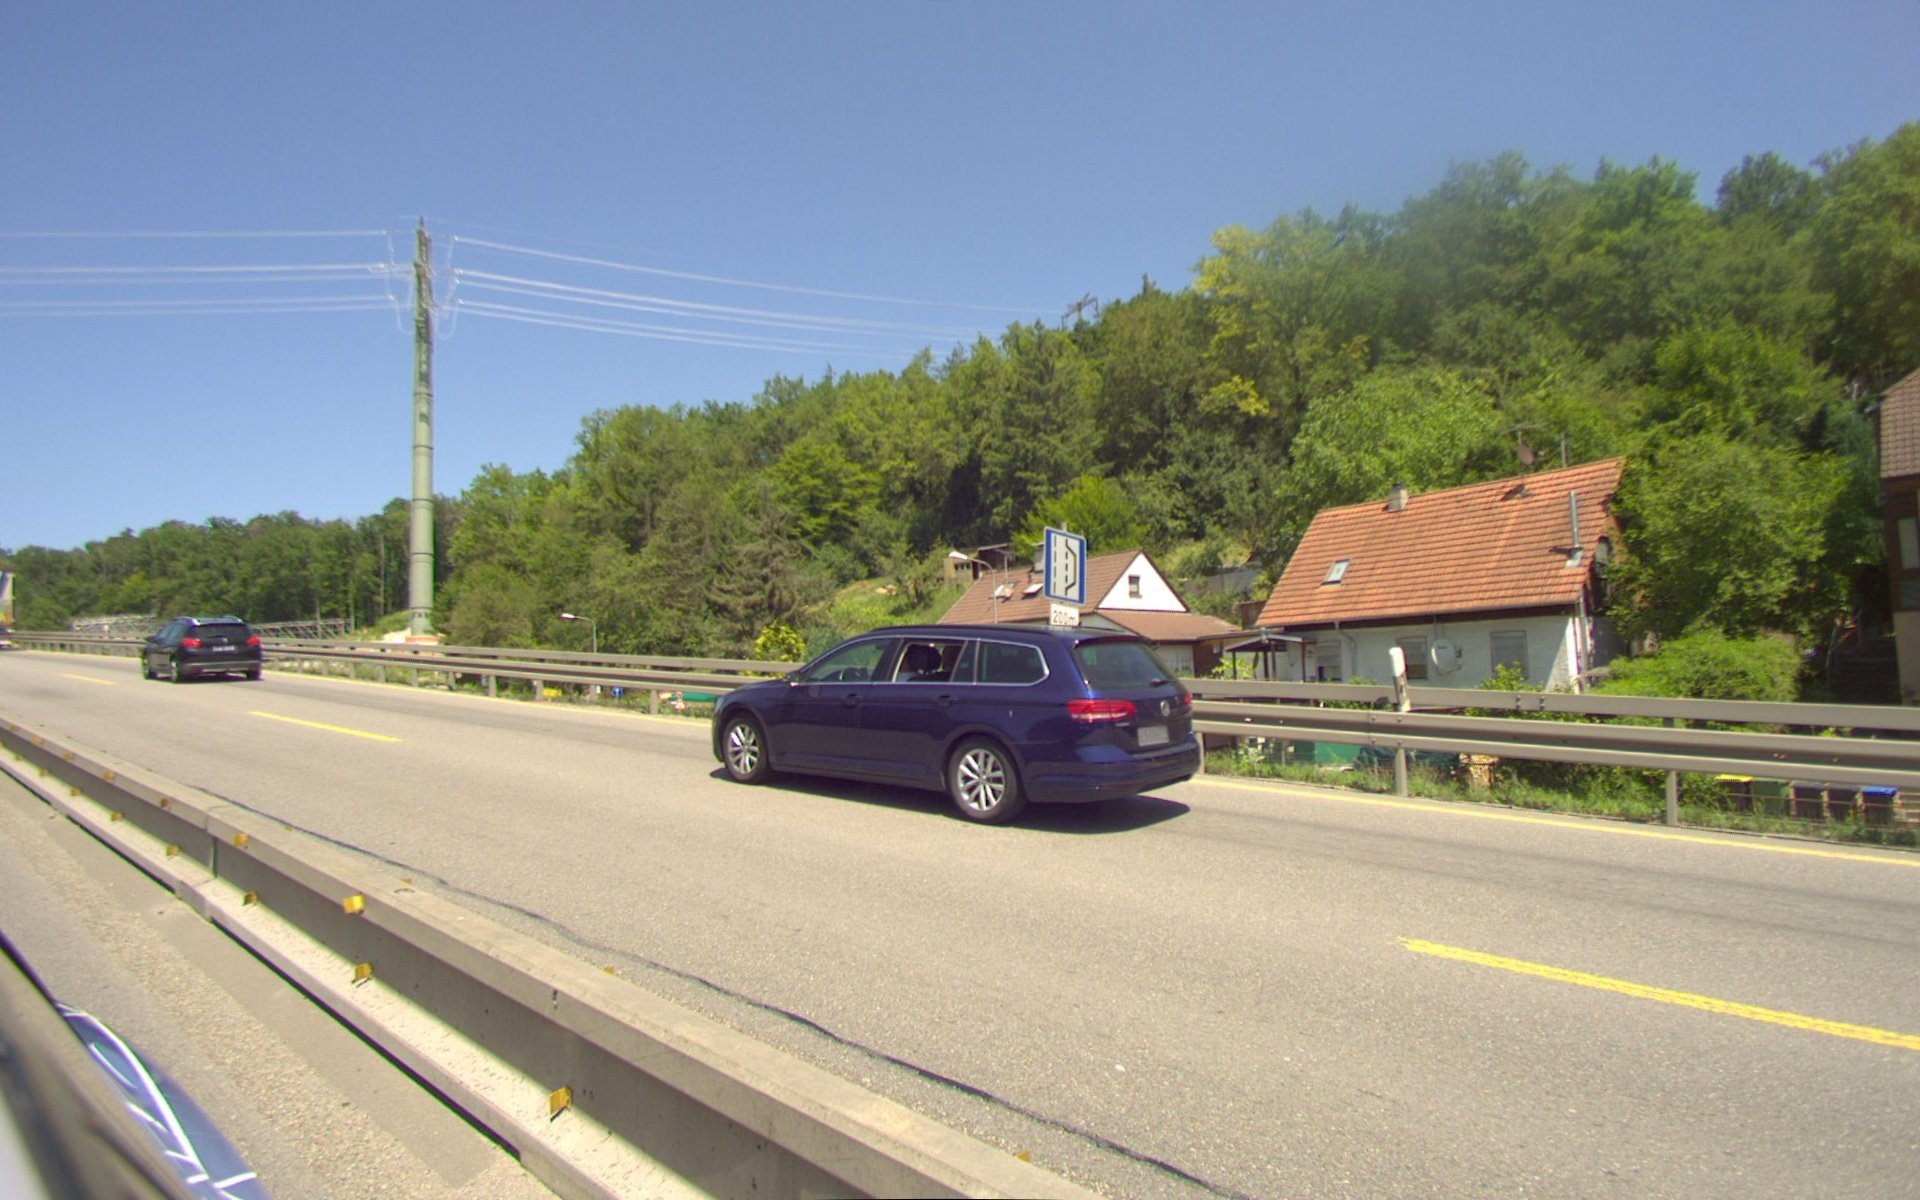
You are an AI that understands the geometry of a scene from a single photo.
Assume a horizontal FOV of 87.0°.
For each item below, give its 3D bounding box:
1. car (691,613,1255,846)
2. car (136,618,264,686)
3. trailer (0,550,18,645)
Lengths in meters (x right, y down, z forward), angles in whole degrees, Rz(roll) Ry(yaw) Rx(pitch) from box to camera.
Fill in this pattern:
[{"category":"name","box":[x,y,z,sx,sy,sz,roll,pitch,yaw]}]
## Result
[{"category":"car","box":[-0.127,0.833,8.474,4.685,1.429,1.822,-1,-2,41]},{"category":"car","box":[-18.428,1.262,24.495,3.998,1.501,1.714,-4,-3,41]},{"category":"trailer","box":[-51.046,-0.047,50.990,14.041,4.411,3.221,-1,0,39]}]
